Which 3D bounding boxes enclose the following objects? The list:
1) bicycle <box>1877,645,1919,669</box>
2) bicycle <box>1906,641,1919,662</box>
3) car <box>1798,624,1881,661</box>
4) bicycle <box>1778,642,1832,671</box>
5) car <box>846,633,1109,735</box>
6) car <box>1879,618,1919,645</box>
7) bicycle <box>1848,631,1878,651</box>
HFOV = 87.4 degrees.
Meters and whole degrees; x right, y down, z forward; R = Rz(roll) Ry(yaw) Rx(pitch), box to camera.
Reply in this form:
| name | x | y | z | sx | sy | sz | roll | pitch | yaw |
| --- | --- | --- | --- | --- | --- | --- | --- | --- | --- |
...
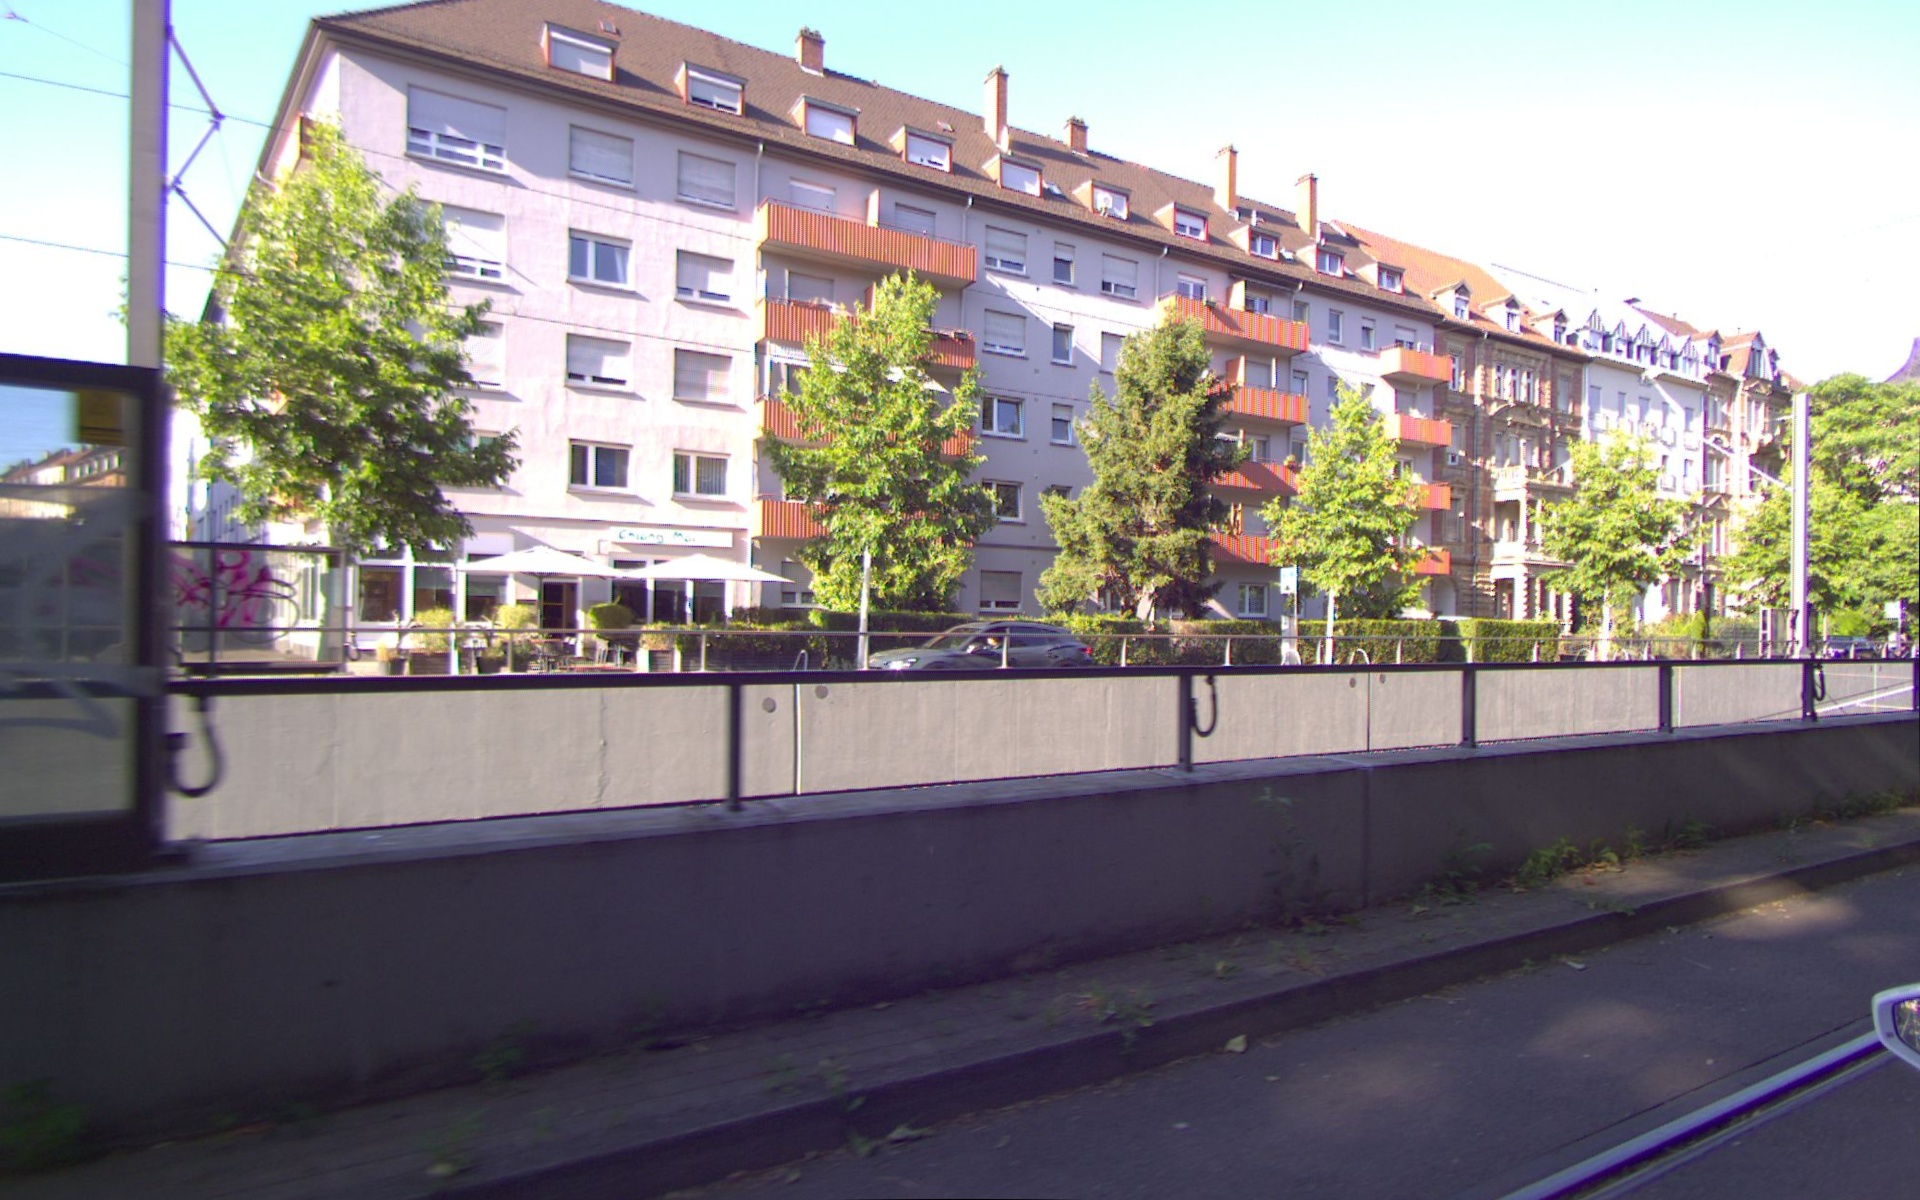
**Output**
| name | x | y | z | sx | sy | sz | roll | pitch | yaw |
| --- | --- | --- | --- | --- | --- | --- | --- | --- | --- |
| bicycle | 48.360 | 2.933 | 50.843 | 2.736 | 1.113 | 0.642 | 2 | 1 | 29 |
| bicycle | 51.993 | 2.784 | 53.412 | 2.334 | 1.113 | 0.556 | 2 | 1 | 31 |
| car | 41.176 | 1.952 | 47.022 | 3.955 | 1.606 | 1.823 | 1 | 1 | -32 |
| bicycle | 38.469 | 2.558 | 45.762 | 0.555 | 1.194 | 1.802 | 1 | 1 | -26 |
| car | 0.350 | 1.416 | 18.108 | 4.356 | 1.524 | 1.961 | 1 | 1 | -30 |
| car | 71.765 | 2.370 | 76.624 | 4.445 | 1.874 | 1.976 | 1 | 1 | -41 |
| bicycle | 51.306 | 2.307 | 57.080 | 2.347 | 1.113 | 0.553 | 1 | 1 | -30 |
